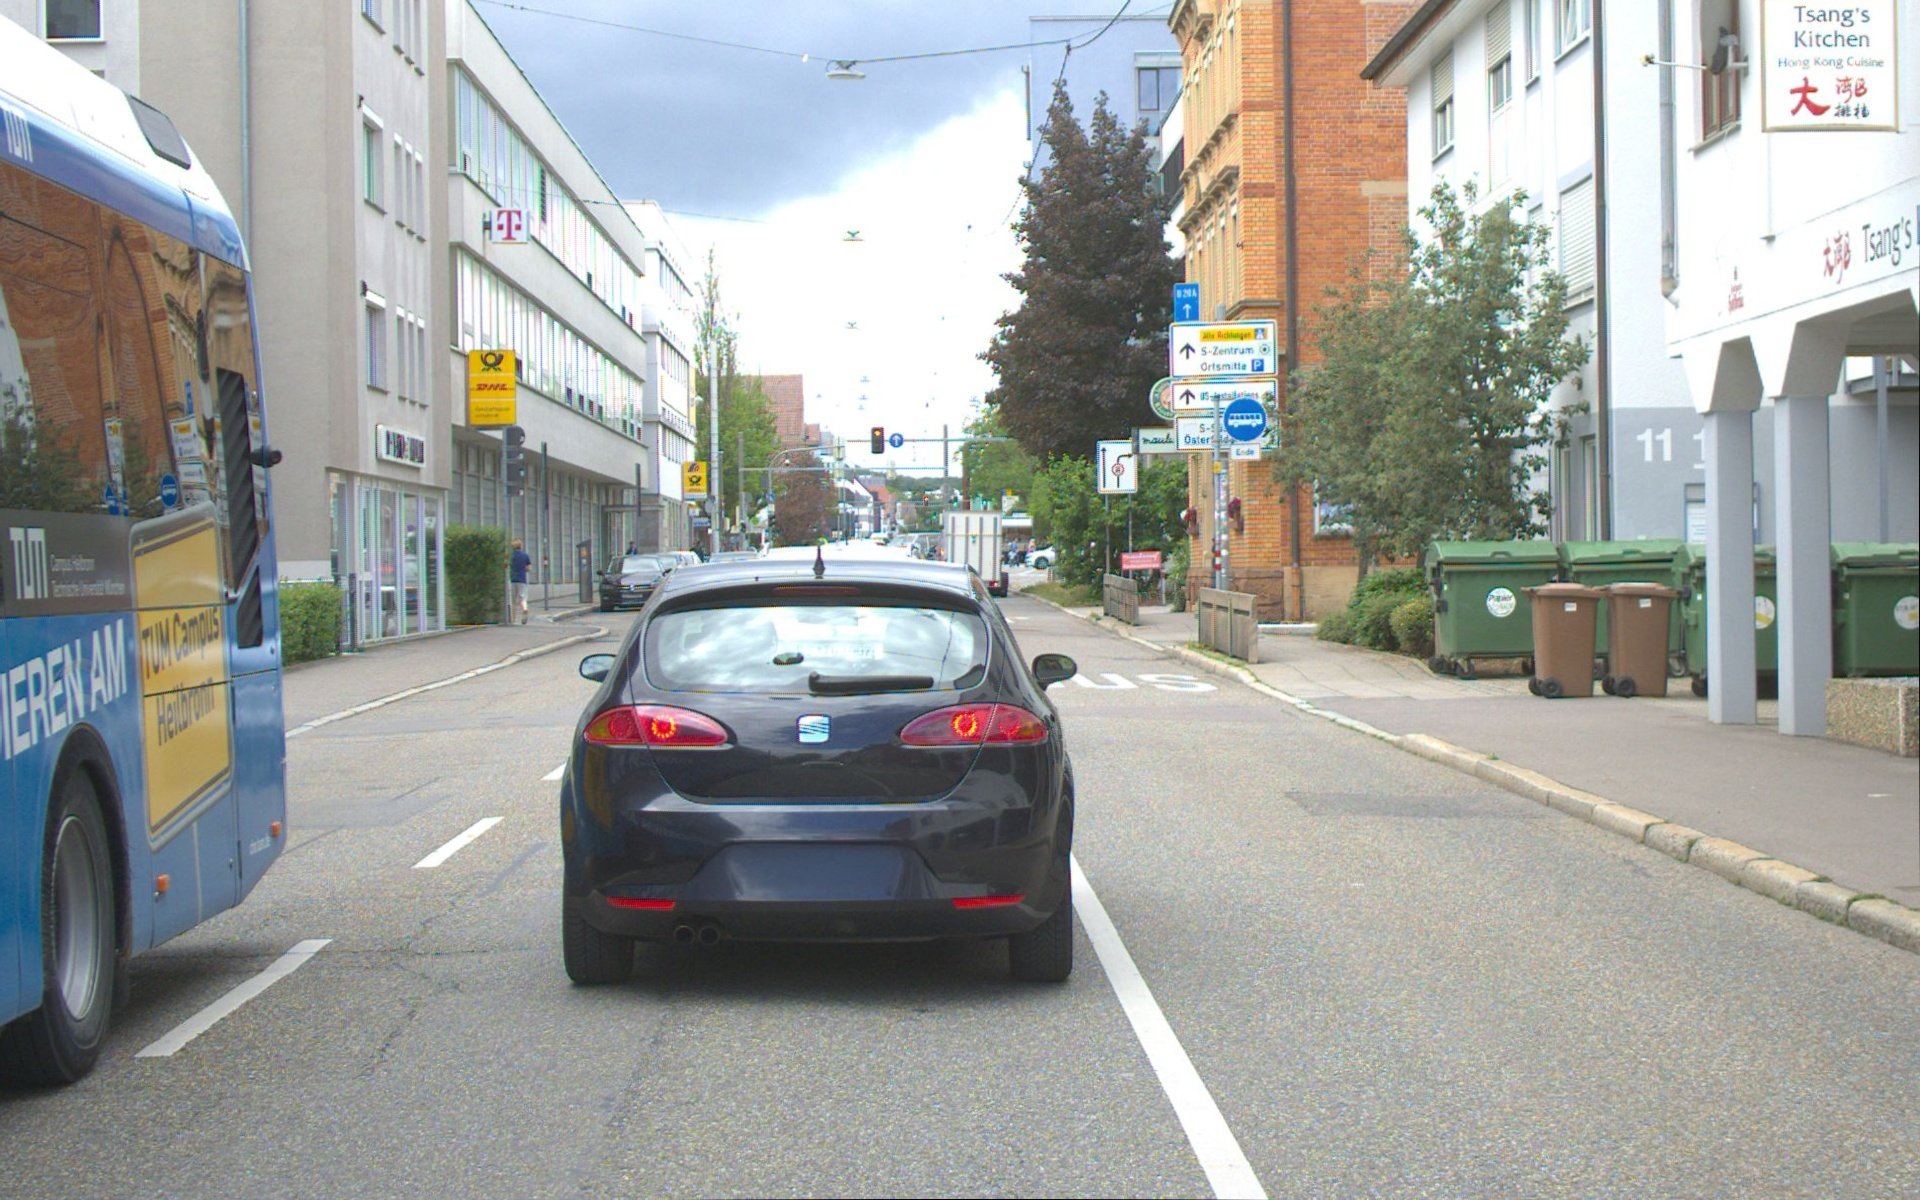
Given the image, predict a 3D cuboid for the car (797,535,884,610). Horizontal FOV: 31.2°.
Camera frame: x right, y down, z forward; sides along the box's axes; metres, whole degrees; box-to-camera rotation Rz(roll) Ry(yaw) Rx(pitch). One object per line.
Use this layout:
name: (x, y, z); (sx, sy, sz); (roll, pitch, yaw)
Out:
car: (-2.549, -0.605, 73.760); (1.803, 1.547, 3.738); (-1, 1, -2)

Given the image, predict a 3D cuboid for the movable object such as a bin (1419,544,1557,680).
movable object such as a bin: (5.585, 0.114, 36.421); (1.267, 1.412, 1.162); (0, 1, 0)

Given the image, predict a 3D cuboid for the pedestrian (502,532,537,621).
pedestrian: (-8.803, -0.471, 68.774); (0.642, 1.763, 0.810); (0, 1, -4)

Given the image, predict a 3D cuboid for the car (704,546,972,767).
car: (-0.882, 0.356, 25.232); (1.803, 1.487, 3.738); (-1, 1, -2)

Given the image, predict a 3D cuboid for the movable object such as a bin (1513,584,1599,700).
movable object such as a bin: (5.625, 0.388, 32.502); (0.683, 1.063, 0.971); (0, 1, 3)

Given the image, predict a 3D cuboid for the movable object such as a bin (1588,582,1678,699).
movable object such as a bin: (6.355, 0.372, 32.482); (0.698, 1.075, 0.971); (0, 1, 3)

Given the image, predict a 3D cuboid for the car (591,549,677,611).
car: (-8.396, -0.531, 88.778); (1.912, 1.511, 4.175); (-2, 1, -2)

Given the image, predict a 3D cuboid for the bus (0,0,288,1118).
bus: (-3.994, -0.196, 7.293); (2.942, 3.262, 12.009); (-2, 1, -1)

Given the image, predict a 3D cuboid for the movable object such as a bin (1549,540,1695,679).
movable object such as a bin: (6.943, 0.090, 36.153); (1.267, 1.430, 1.307); (0, 1, 0)

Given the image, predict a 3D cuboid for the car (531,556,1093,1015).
car: (-0.499, 0.561, 12.793); (1.765, 1.428, 3.828); (0, 1, -1)

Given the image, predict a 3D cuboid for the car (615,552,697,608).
car: (-8.340, -0.569, 94.624); (1.993, 1.511, 4.175); (-1, 1, -2)

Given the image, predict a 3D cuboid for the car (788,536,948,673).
car: (-1.096, 0.024, 40.976); (1.803, 1.547, 3.738); (-1, 1, -2)

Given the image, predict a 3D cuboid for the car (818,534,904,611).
car: (-2.131, -0.601, 73.956); (1.803, 1.596, 3.738); (1, 1, -2)

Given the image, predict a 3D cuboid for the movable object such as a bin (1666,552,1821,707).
movable object such as a bin: (7.310, 0.262, 32.139); (1.209, 1.412, 1.259); (0, 1, 3)

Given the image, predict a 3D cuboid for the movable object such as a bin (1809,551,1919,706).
movable object such as a bin: (8.674, 0.254, 32.133); (1.209, 1.412, 1.259); (0, 1, 3)

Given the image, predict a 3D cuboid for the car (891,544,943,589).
car: (-1.577, -1.219, 125.547); (1.803, 1.596, 3.738); (1, 1, -2)

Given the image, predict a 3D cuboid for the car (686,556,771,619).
car: (-5.805, -0.340, 86.685); (1.878, 1.446, 4.214); (-3, 1, -1)

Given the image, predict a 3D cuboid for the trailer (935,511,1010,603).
trailer: (0.346, -1.264, 100.701); (1.993, 2.598, 5.350); (-1, 1, -2)
